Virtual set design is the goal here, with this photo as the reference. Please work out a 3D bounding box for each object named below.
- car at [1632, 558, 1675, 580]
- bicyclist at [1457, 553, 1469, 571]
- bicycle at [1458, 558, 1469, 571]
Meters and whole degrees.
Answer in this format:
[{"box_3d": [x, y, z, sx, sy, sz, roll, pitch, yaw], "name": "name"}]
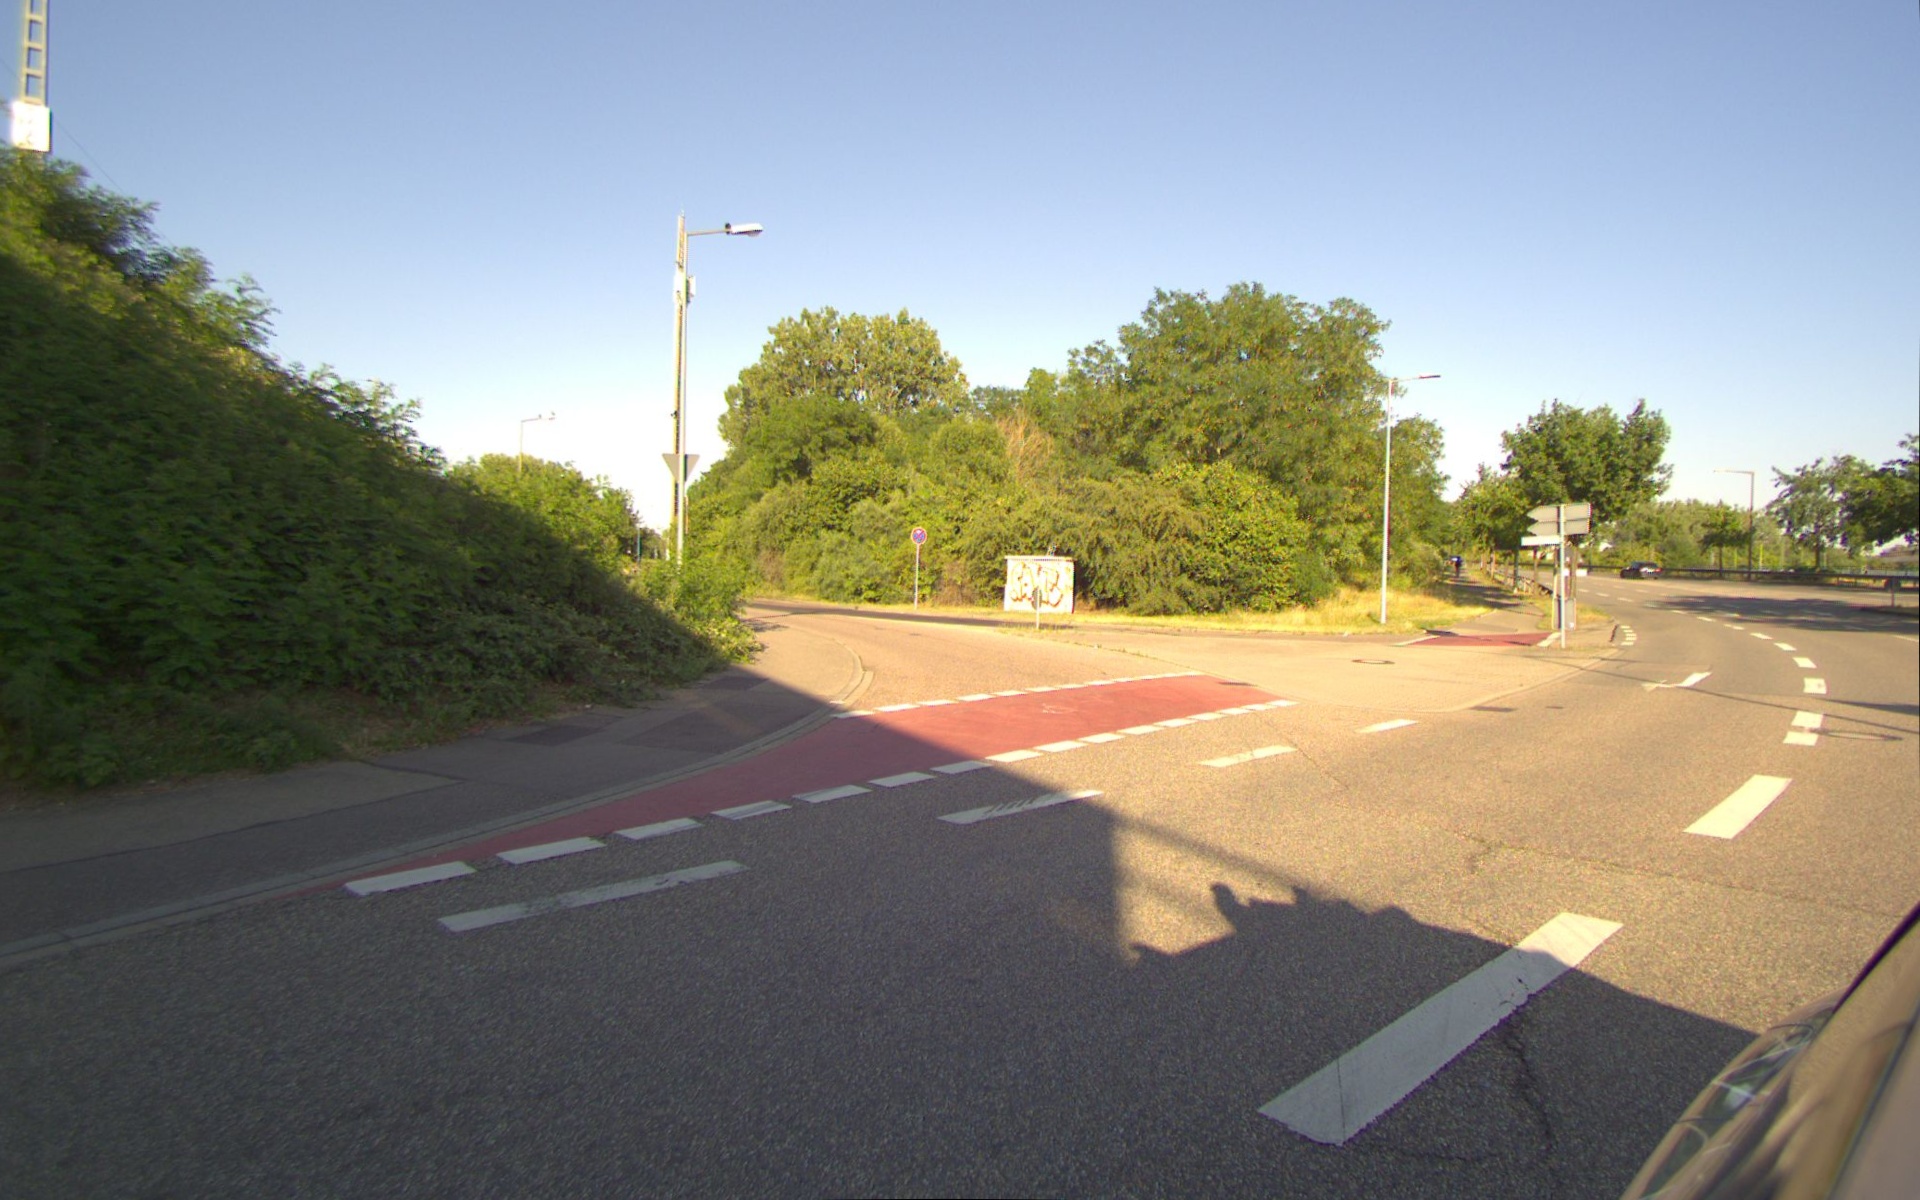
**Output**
[{"box_3d": [59.526, -2.633, 86.911, 1.974, 1.794, 3.976, 0, 0, 19], "name": "car"}, {"box_3d": [42.015, -3.140, 84.507, 0.836, 1.439, 1.103, 0, 0, 28], "name": "bicyclist"}, {"box_3d": [42.017, -2.942, 84.448, 0.775, 1.070, 2.473, 0, 0, 27], "name": "bicycle"}]
